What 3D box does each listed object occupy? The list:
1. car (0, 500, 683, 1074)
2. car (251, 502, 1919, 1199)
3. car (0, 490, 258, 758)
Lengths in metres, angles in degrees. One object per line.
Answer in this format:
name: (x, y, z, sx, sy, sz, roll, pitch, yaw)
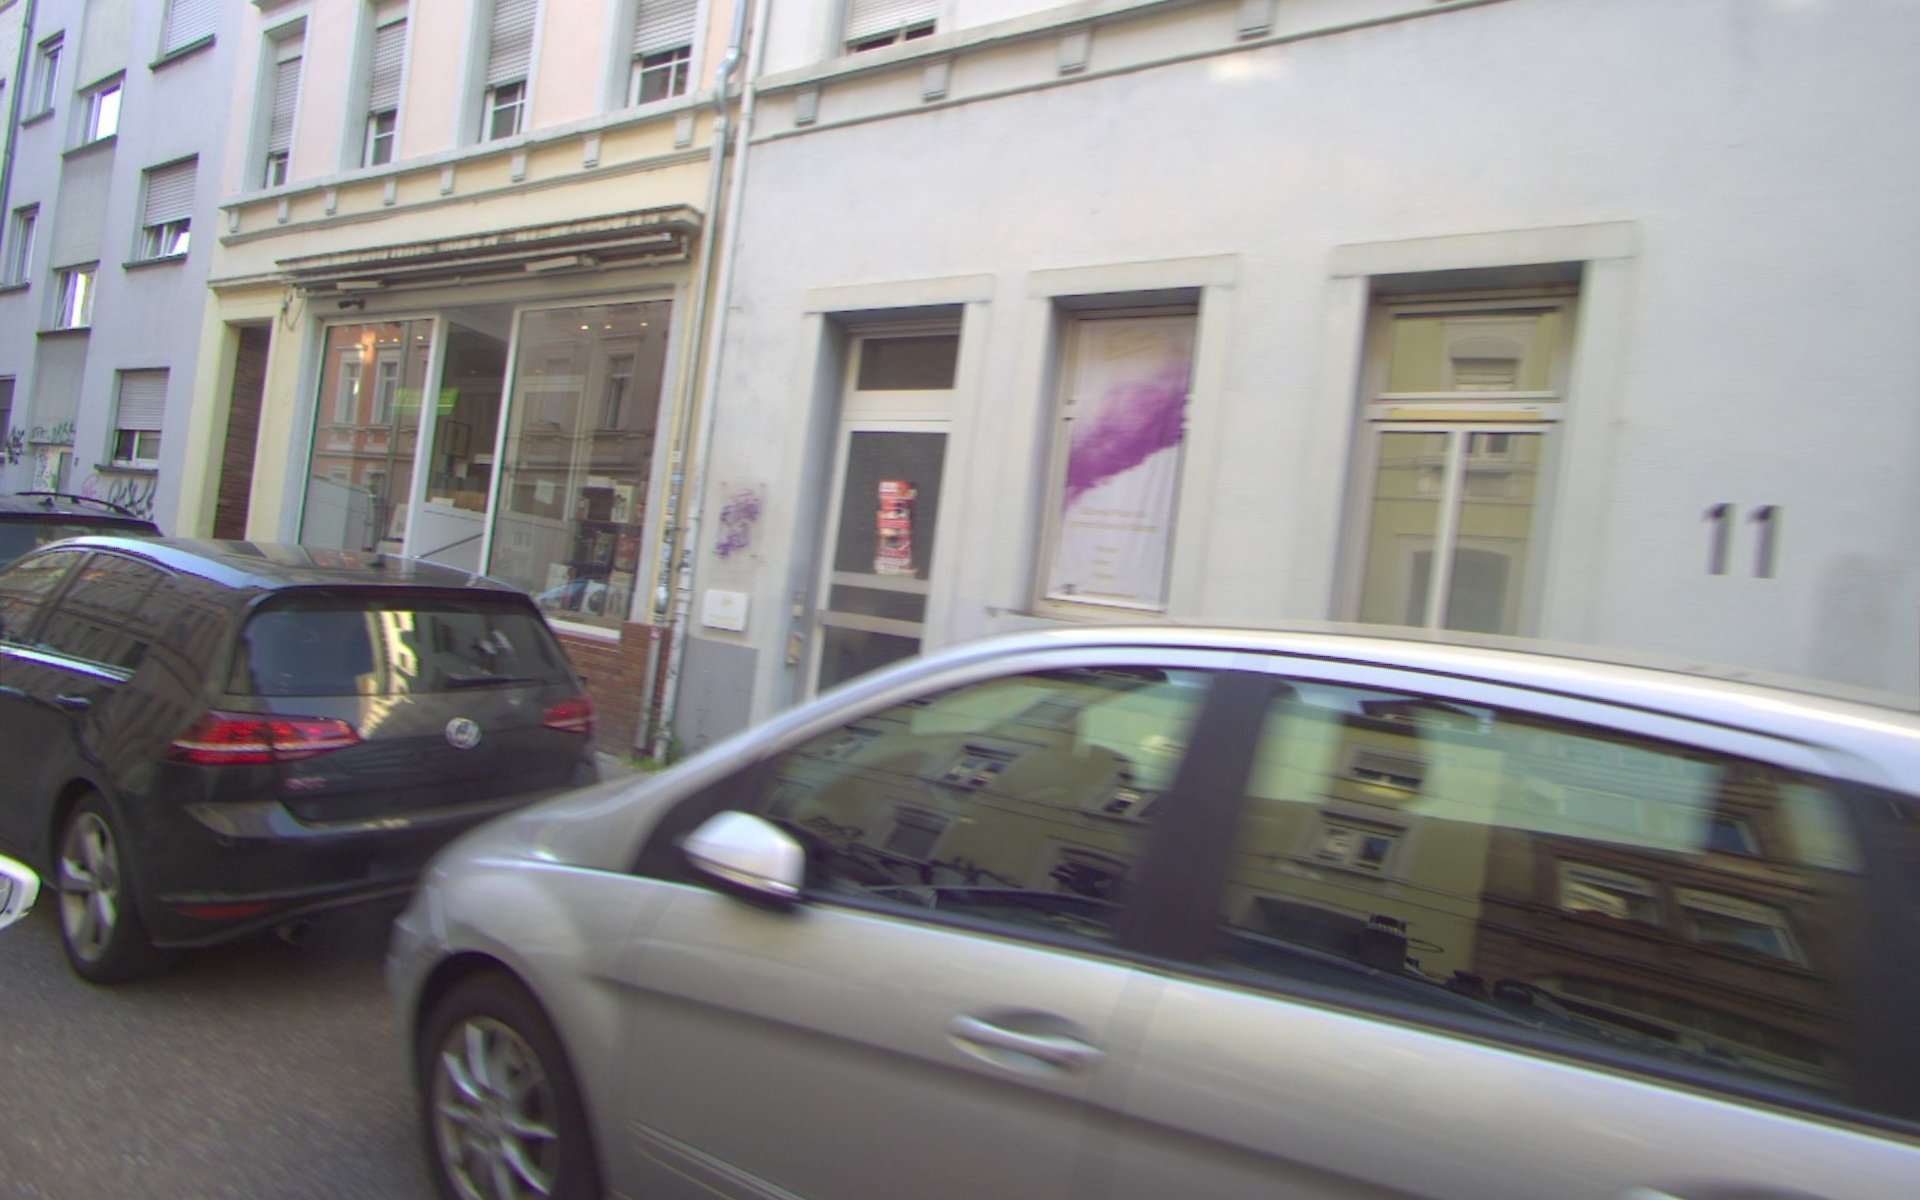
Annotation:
car: (-3.477, 0.433, 4.640, 4.172, 1.503, 1.749, 7, -1, 32)
car: (0.527, 0.834, 2.148, 4.302, 1.628, 1.695, 7, 1, 32)
car: (-7.517, -0.069, 7.258, 4.524, 1.498, 1.815, 8, 2, 22)
